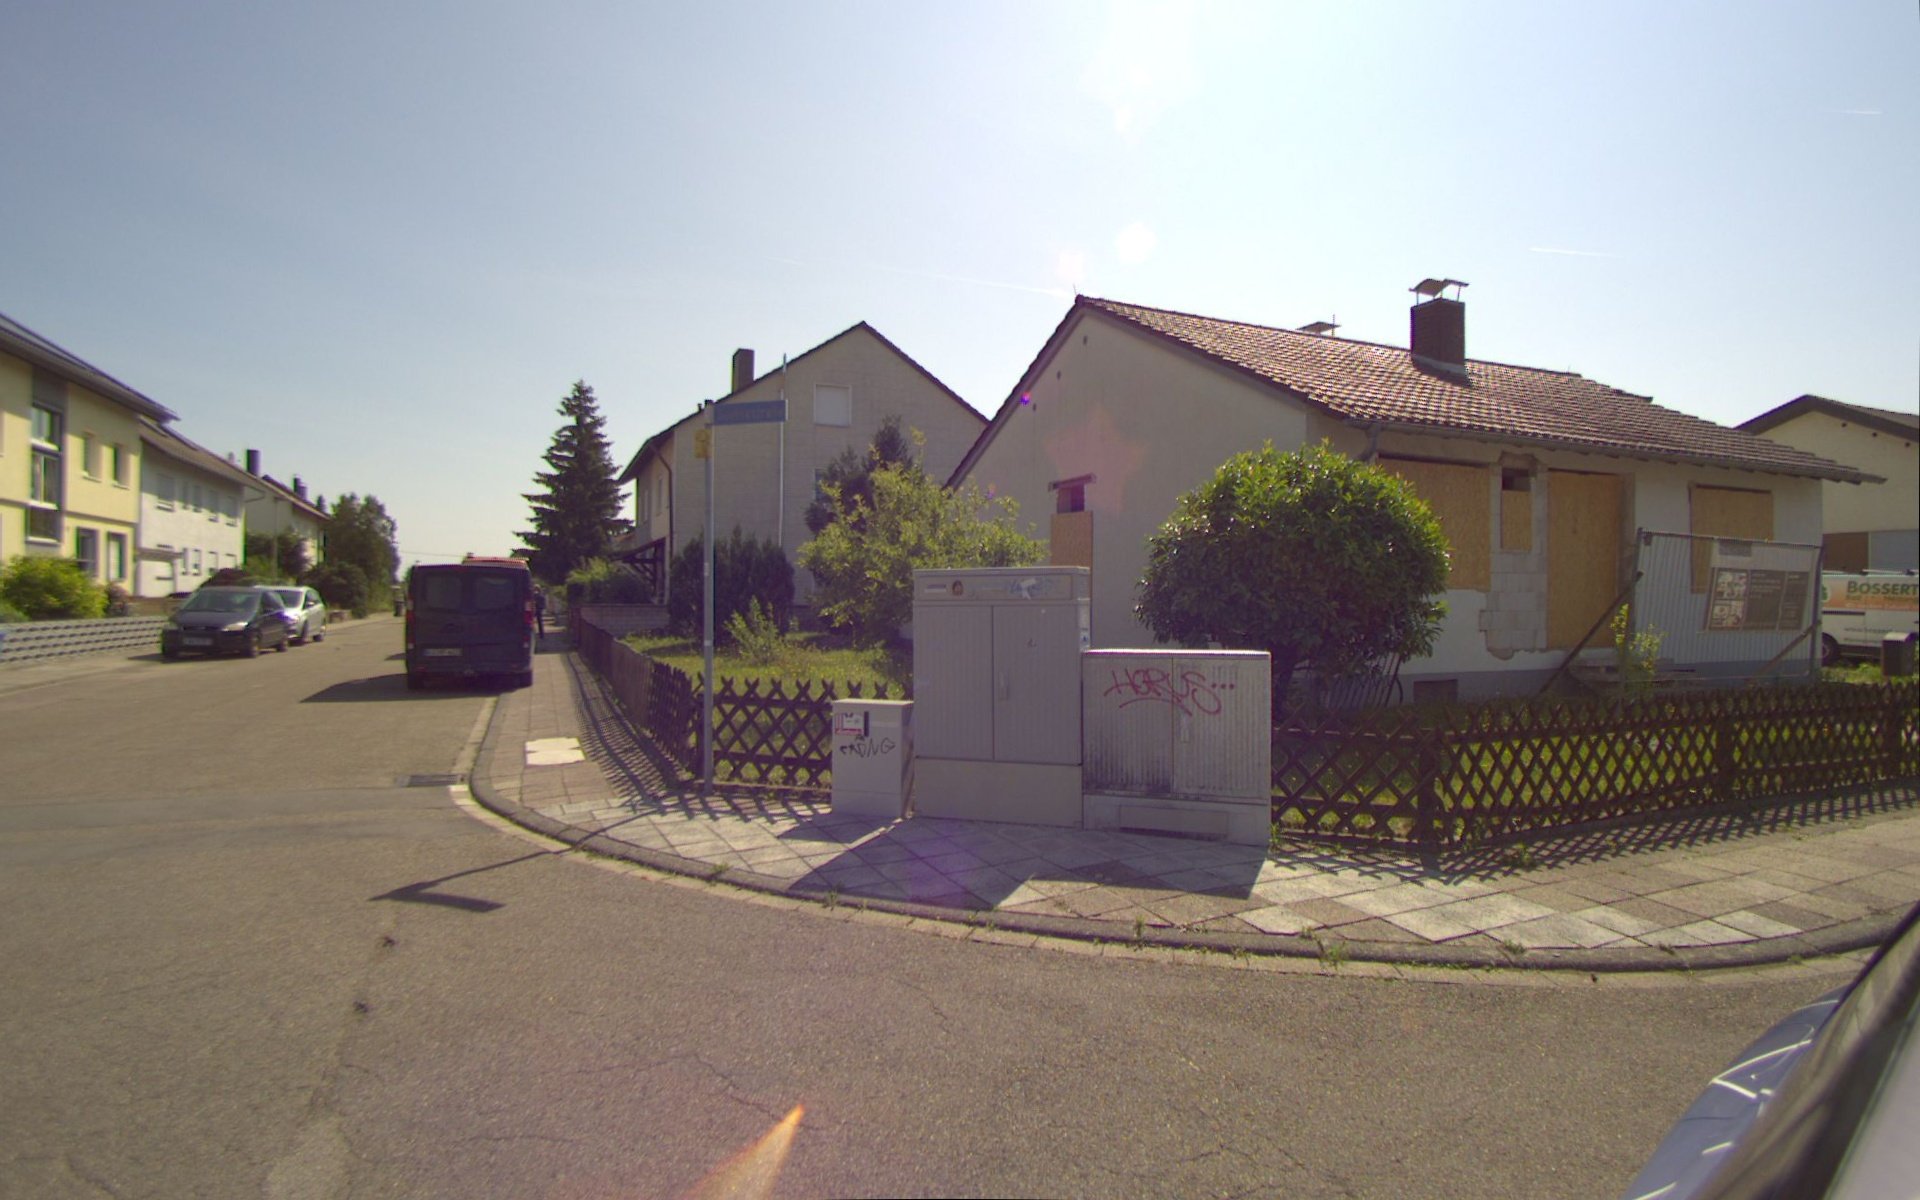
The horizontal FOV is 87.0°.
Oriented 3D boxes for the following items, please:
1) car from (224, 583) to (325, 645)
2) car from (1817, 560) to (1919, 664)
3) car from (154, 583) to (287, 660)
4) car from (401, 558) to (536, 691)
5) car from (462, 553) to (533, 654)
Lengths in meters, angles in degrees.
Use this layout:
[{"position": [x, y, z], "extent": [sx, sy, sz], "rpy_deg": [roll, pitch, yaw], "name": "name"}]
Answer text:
[{"position": [-19.535, 0.358, 29.002], "extent": [1.599, 1.646, 4.007], "rpy_deg": [0, 0, -22], "name": "car"}, {"position": [19.937, 0.256, 19.427], "extent": [1.829, 2.039, 5.022], "rpy_deg": [0, 1, -24], "name": "car"}, {"position": [-17.304, 0.458, 23.867], "extent": [1.599, 1.646, 4.007], "rpy_deg": [0, 0, -22], "name": "car"}, {"position": [-8.268, 0.342, 17.217], "extent": [1.832, 1.962, 4.212], "rpy_deg": [0, 0, -24], "name": "car"}, {"position": [-11.783, 0.058, 25.860], "extent": [1.524, 2.353, 4.212], "rpy_deg": [0, 0, -24], "name": "car"}]
